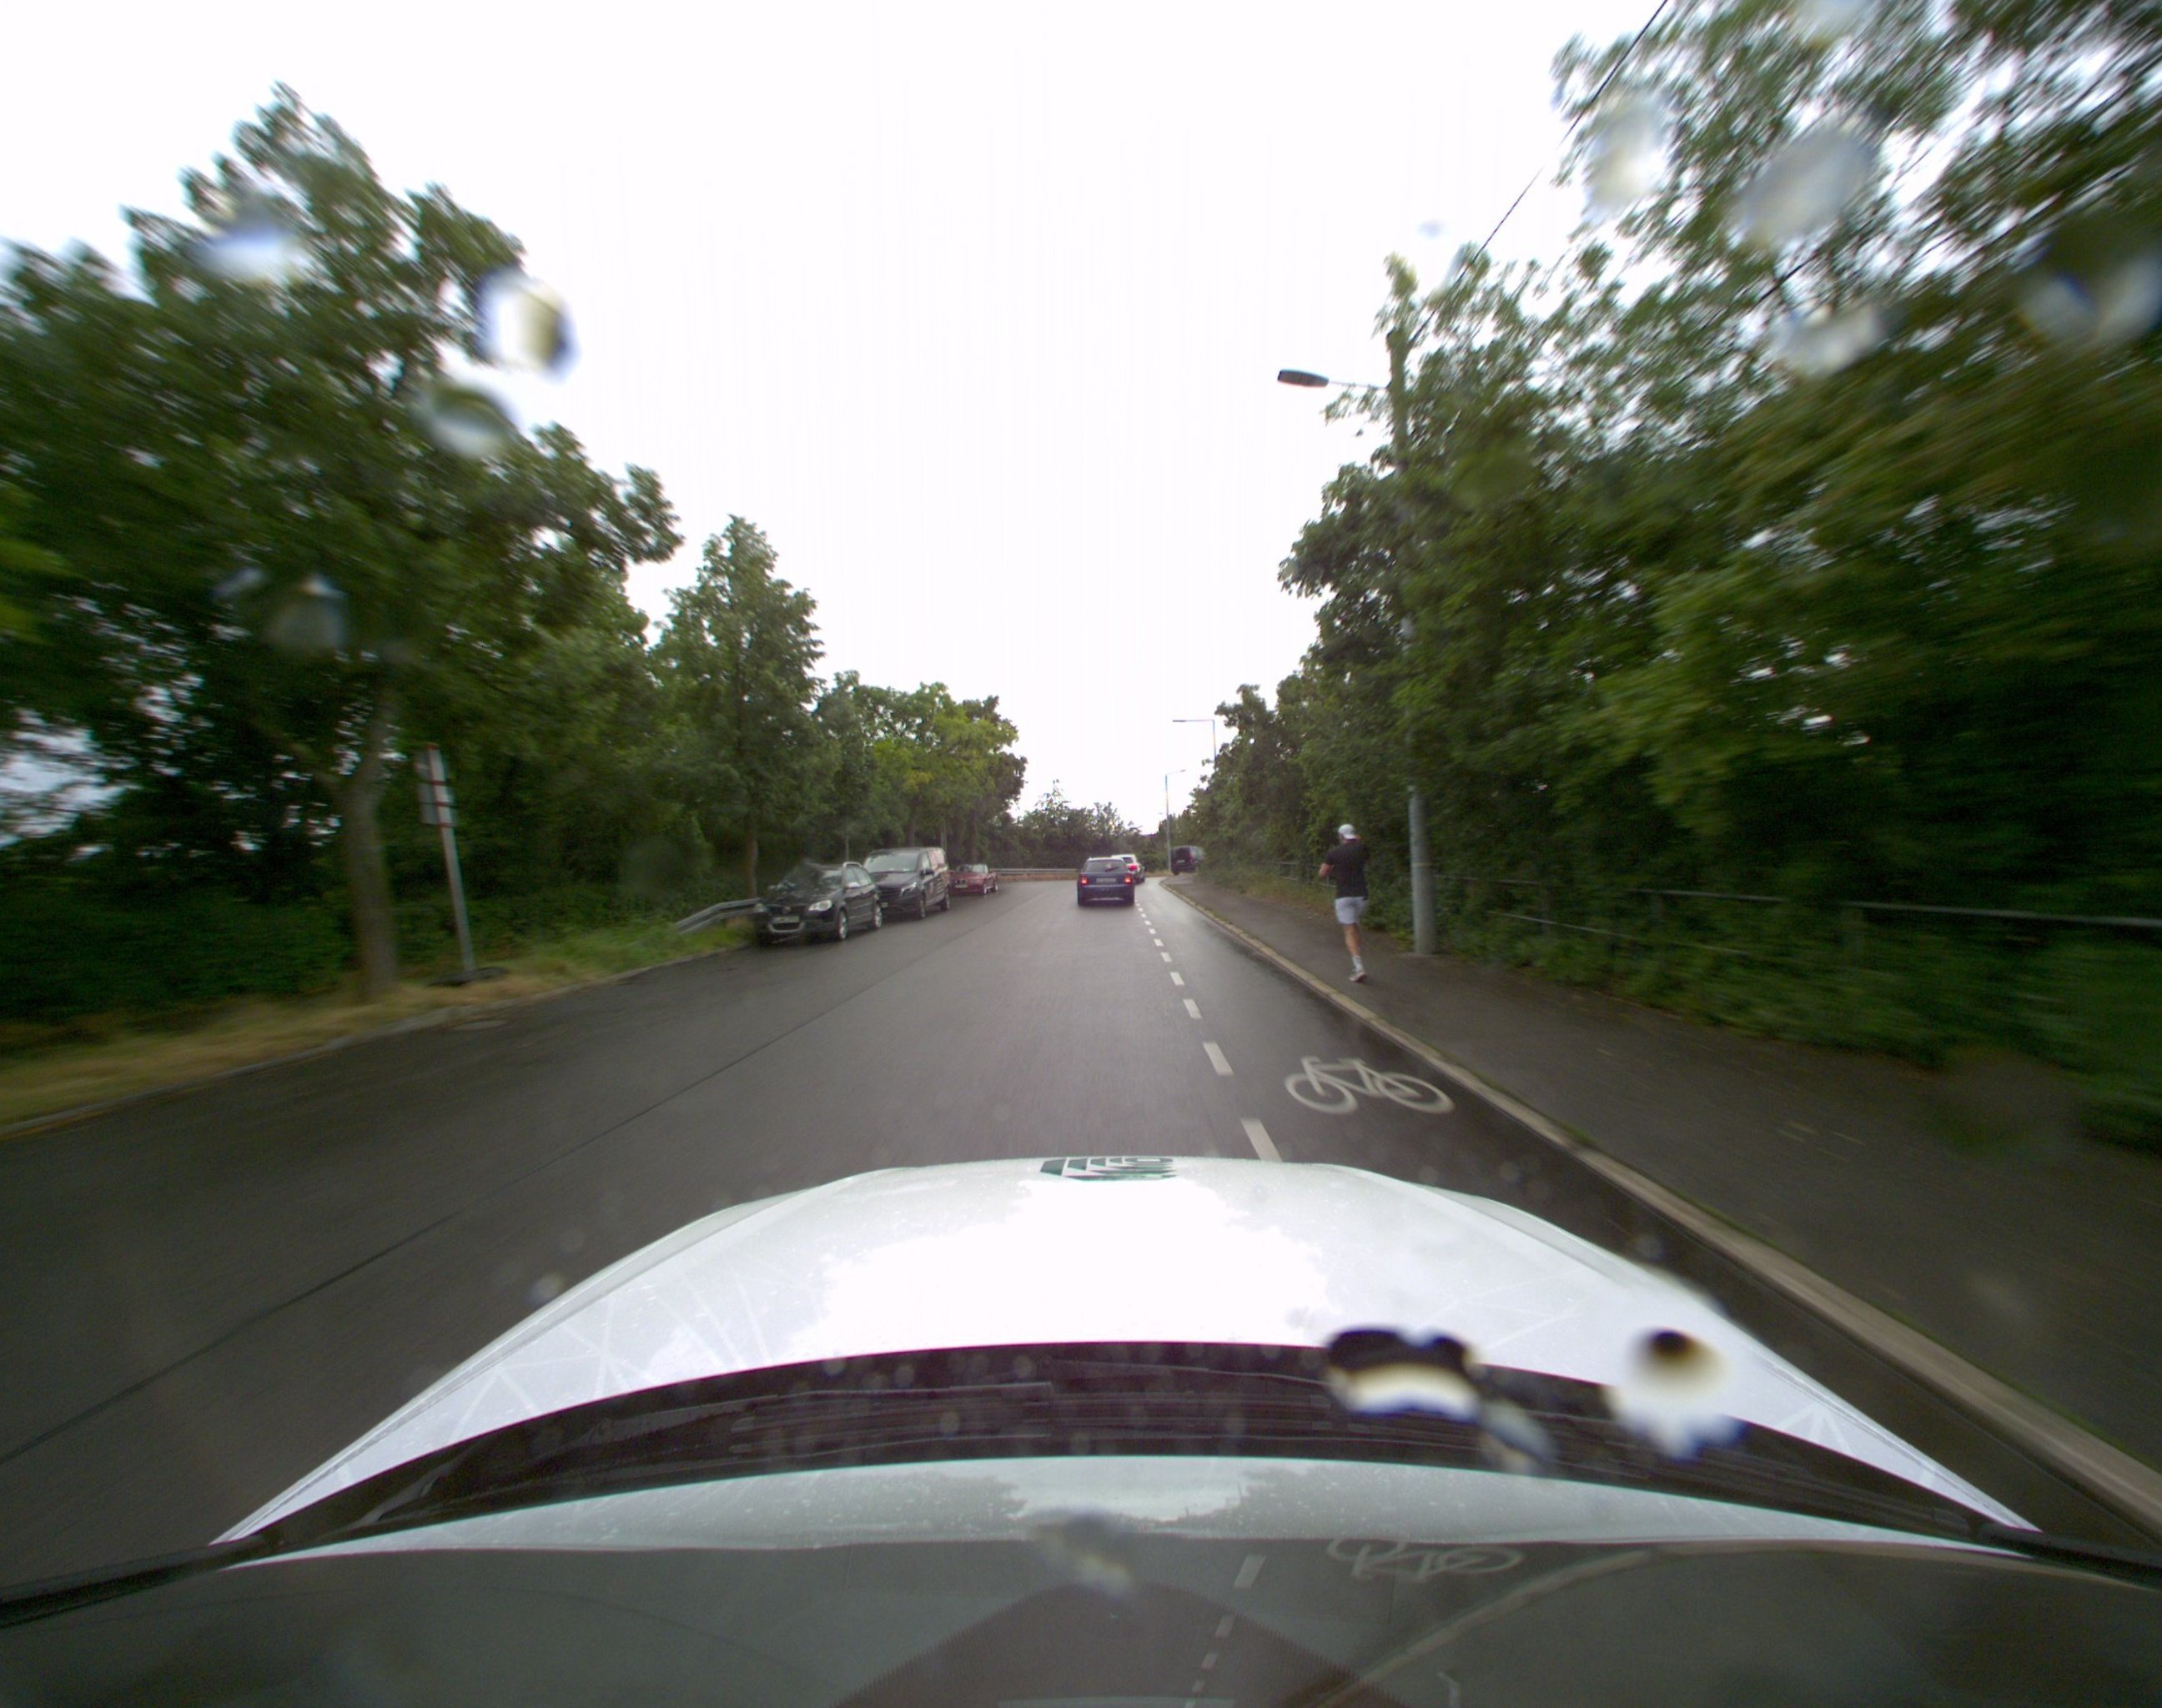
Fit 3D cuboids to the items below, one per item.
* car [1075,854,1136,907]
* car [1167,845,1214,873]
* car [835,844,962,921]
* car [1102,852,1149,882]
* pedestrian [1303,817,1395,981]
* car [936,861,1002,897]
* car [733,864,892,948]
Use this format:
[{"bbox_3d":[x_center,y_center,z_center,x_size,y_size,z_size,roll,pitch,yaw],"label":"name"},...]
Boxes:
[{"bbox_3d":[0.772,0.765,25.676,1.740,1.407,4.003,-1,2,2],"label":"car"},{"bbox_3d":[7.061,0.300,52.208,1.805,1.617,3.807,-3,-1,25],"label":"car"},{"bbox_3d":[-4.949,0.726,23.011,2.075,1.819,5.384,-3,0,3],"label":"car"},{"bbox_3d":[2.322,0.649,41.392,1.879,1.389,4.011,-2,-1,9],"label":"car"},{"bbox_3d":[3.207,0.510,9.833,0.713,1.835,1.022,-4,0,4],"label":"pedestrian"},{"bbox_3d":[-4.607,0.999,34.047,1.781,1.297,4.330,-3,0,4],"label":"car"},{"bbox_3d":[-5.415,0.977,17.045,1.791,1.437,4.257,-3,0,1],"label":"car"}]
